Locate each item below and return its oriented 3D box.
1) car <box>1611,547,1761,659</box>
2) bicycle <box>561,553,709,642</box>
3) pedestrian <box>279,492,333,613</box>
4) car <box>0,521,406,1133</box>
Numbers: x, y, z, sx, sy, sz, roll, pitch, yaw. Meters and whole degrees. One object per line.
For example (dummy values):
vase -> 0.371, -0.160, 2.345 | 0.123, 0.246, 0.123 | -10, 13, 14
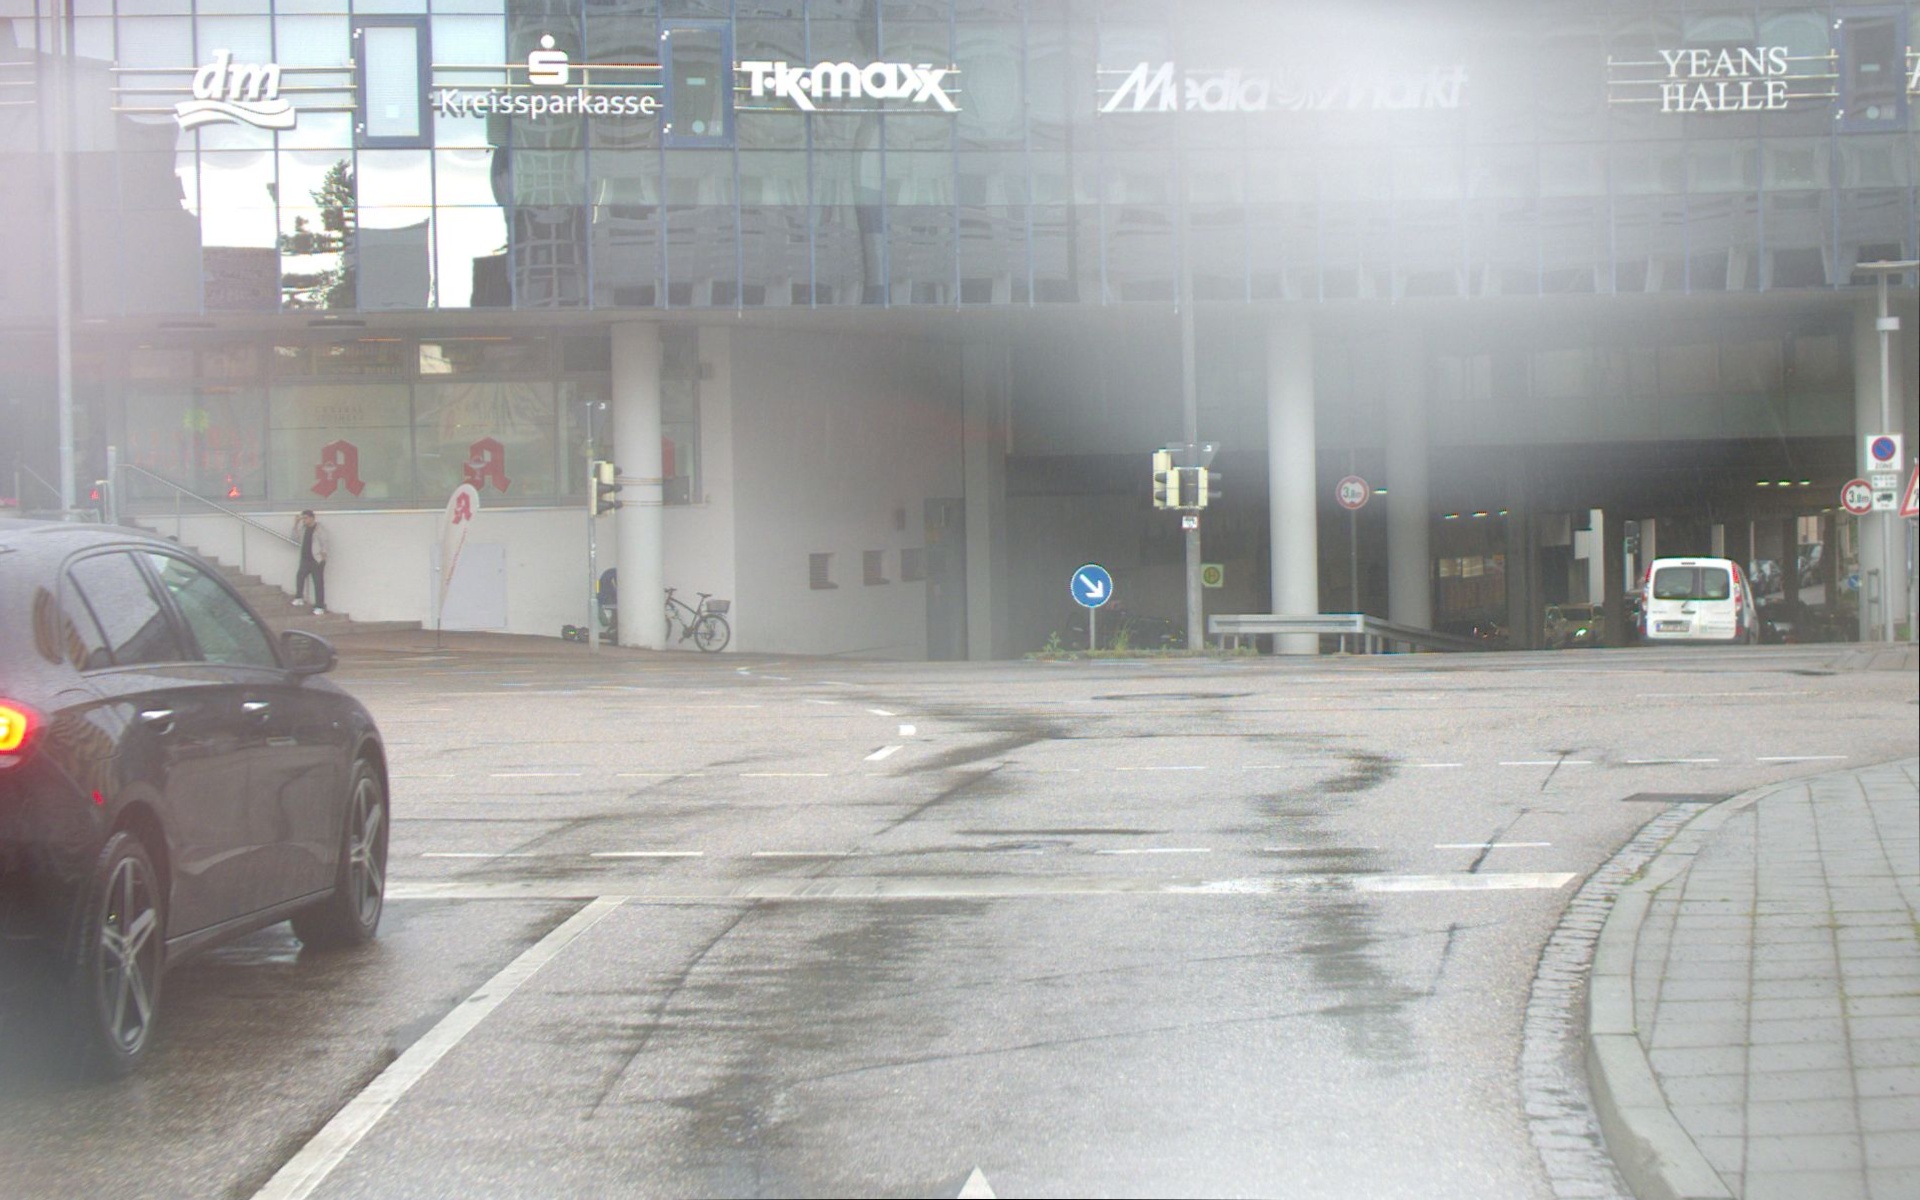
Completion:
car -> 12.119, 0.021, 57.212 | 1.995, 1.711, 3.997 | -1, 1, 18
bicycle -> -5.544, -0.053, 58.717 | 2.423, 1.459, 0.656 | -1, 3, -18
pedestrian -> -11.014, -0.804, 57.916 | 0.787, 2.007, 0.670 | -1, 1, -7
car -> -2.959, 0.499, 10.071 | 1.805, 1.414, 4.000 | -1, 1, 3
